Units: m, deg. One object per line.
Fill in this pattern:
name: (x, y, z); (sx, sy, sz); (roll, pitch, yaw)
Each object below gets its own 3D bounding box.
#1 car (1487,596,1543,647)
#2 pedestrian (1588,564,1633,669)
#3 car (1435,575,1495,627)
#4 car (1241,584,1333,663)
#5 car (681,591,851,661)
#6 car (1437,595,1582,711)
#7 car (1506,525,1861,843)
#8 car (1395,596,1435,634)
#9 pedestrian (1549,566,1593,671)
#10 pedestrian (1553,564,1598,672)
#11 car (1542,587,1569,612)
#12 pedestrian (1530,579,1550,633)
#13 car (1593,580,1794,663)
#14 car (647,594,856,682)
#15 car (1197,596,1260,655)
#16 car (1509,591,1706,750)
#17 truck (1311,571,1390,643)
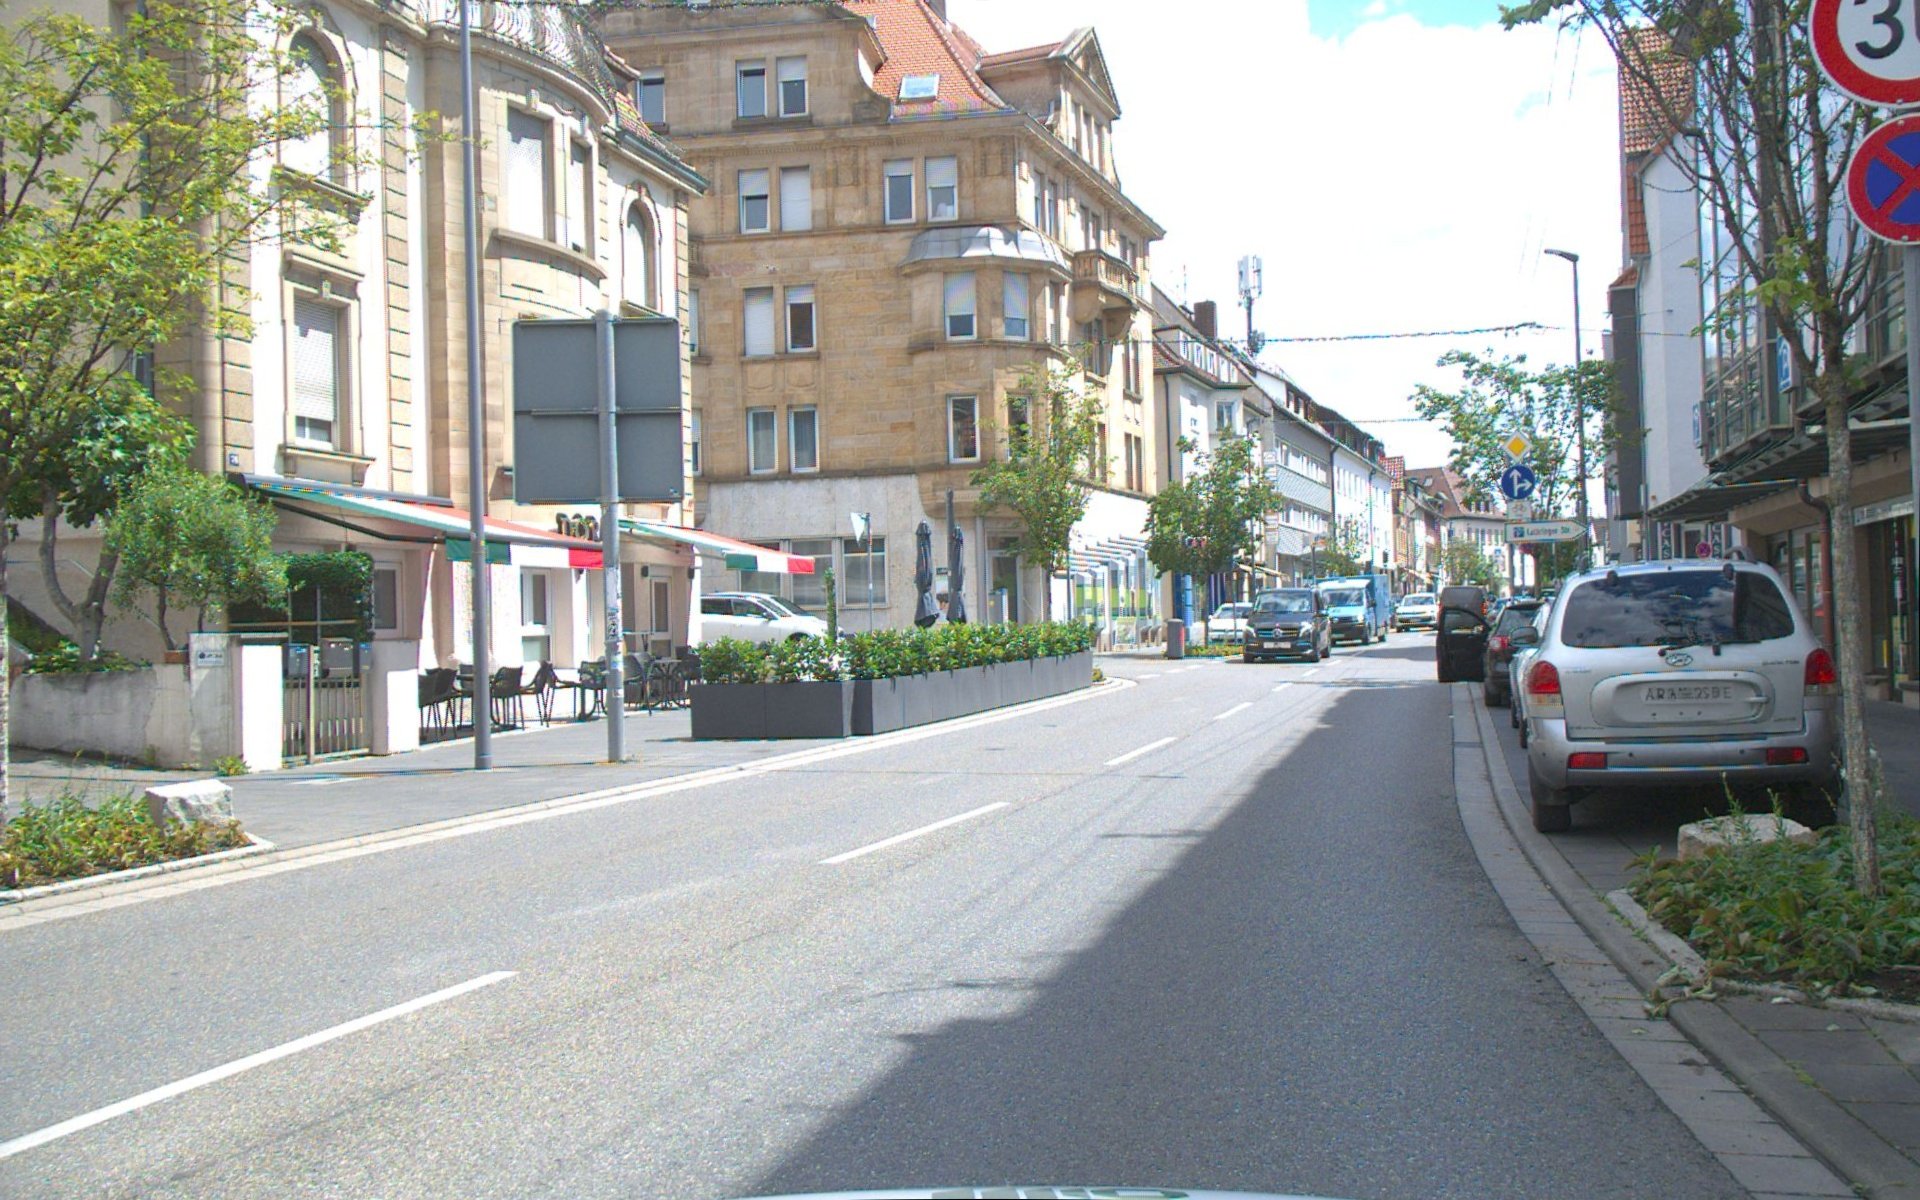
car: (16.934, 0.627, 50.576); (1.488, 1.459, 3.372); (-2, 0, 17)
pedestrian: (12.867, 0.330, 32.727); (0.674, 2.049, 0.724); (-1, -1, 13)
car: (19.952, 0.009, 65.252); (1.930, 1.908, 5.039); (-2, 0, 20)
car: (8.519, 0.574, 42.805); (1.796, 1.867, 4.572); (-3, -1, 17)
car: (-4.977, 0.663, 42.680); (3.902, 1.691, 1.911); (-1, -1, 12)
car: (7.768, 0.697, 23.670); (1.571, 1.459, 4.178); (-2, 0, 14)
car: (4.838, 0.508, 11.468); (1.786, 1.761, 4.234); (-3, -1, 20)
car: (20.351, 0.670, 73.908); (1.661, 1.613, 3.960); (-1, -1, 16)
pedestrian: (12.062, 0.368, 32.677); (0.674, 2.049, 0.724); (-1, -1, 13)
pedestrian: (11.835, 0.350, 31.833); (0.674, 2.049, 0.724); (-1, -1, 13)
car: (55.960, -0.054, 155.430); (2.024, 2.341, 4.221); (0, -1, 25)
pedestrian: (22.051, 0.224, 62.927); (0.668, 2.049, 0.599); (-1, -1, 21)
car: (15.996, 0.470, 36.270); (3.904, 1.738, 1.674); (0, -1, 21)
car: (-4.576, 0.827, 36.786); (4.327, 1.807, 2.000); (-1, -1, 1)
car: (8.568, 0.776, 52.512); (1.673, 1.742, 4.003); (-1, 0, 13)
car: (6.749, 0.662, 17.585); (1.587, 1.459, 4.242); (-2, 0, 17)
truck: (13.041, 0.204, 54.981); (2.022, 2.203, 5.296); (-2, 0, 19)
